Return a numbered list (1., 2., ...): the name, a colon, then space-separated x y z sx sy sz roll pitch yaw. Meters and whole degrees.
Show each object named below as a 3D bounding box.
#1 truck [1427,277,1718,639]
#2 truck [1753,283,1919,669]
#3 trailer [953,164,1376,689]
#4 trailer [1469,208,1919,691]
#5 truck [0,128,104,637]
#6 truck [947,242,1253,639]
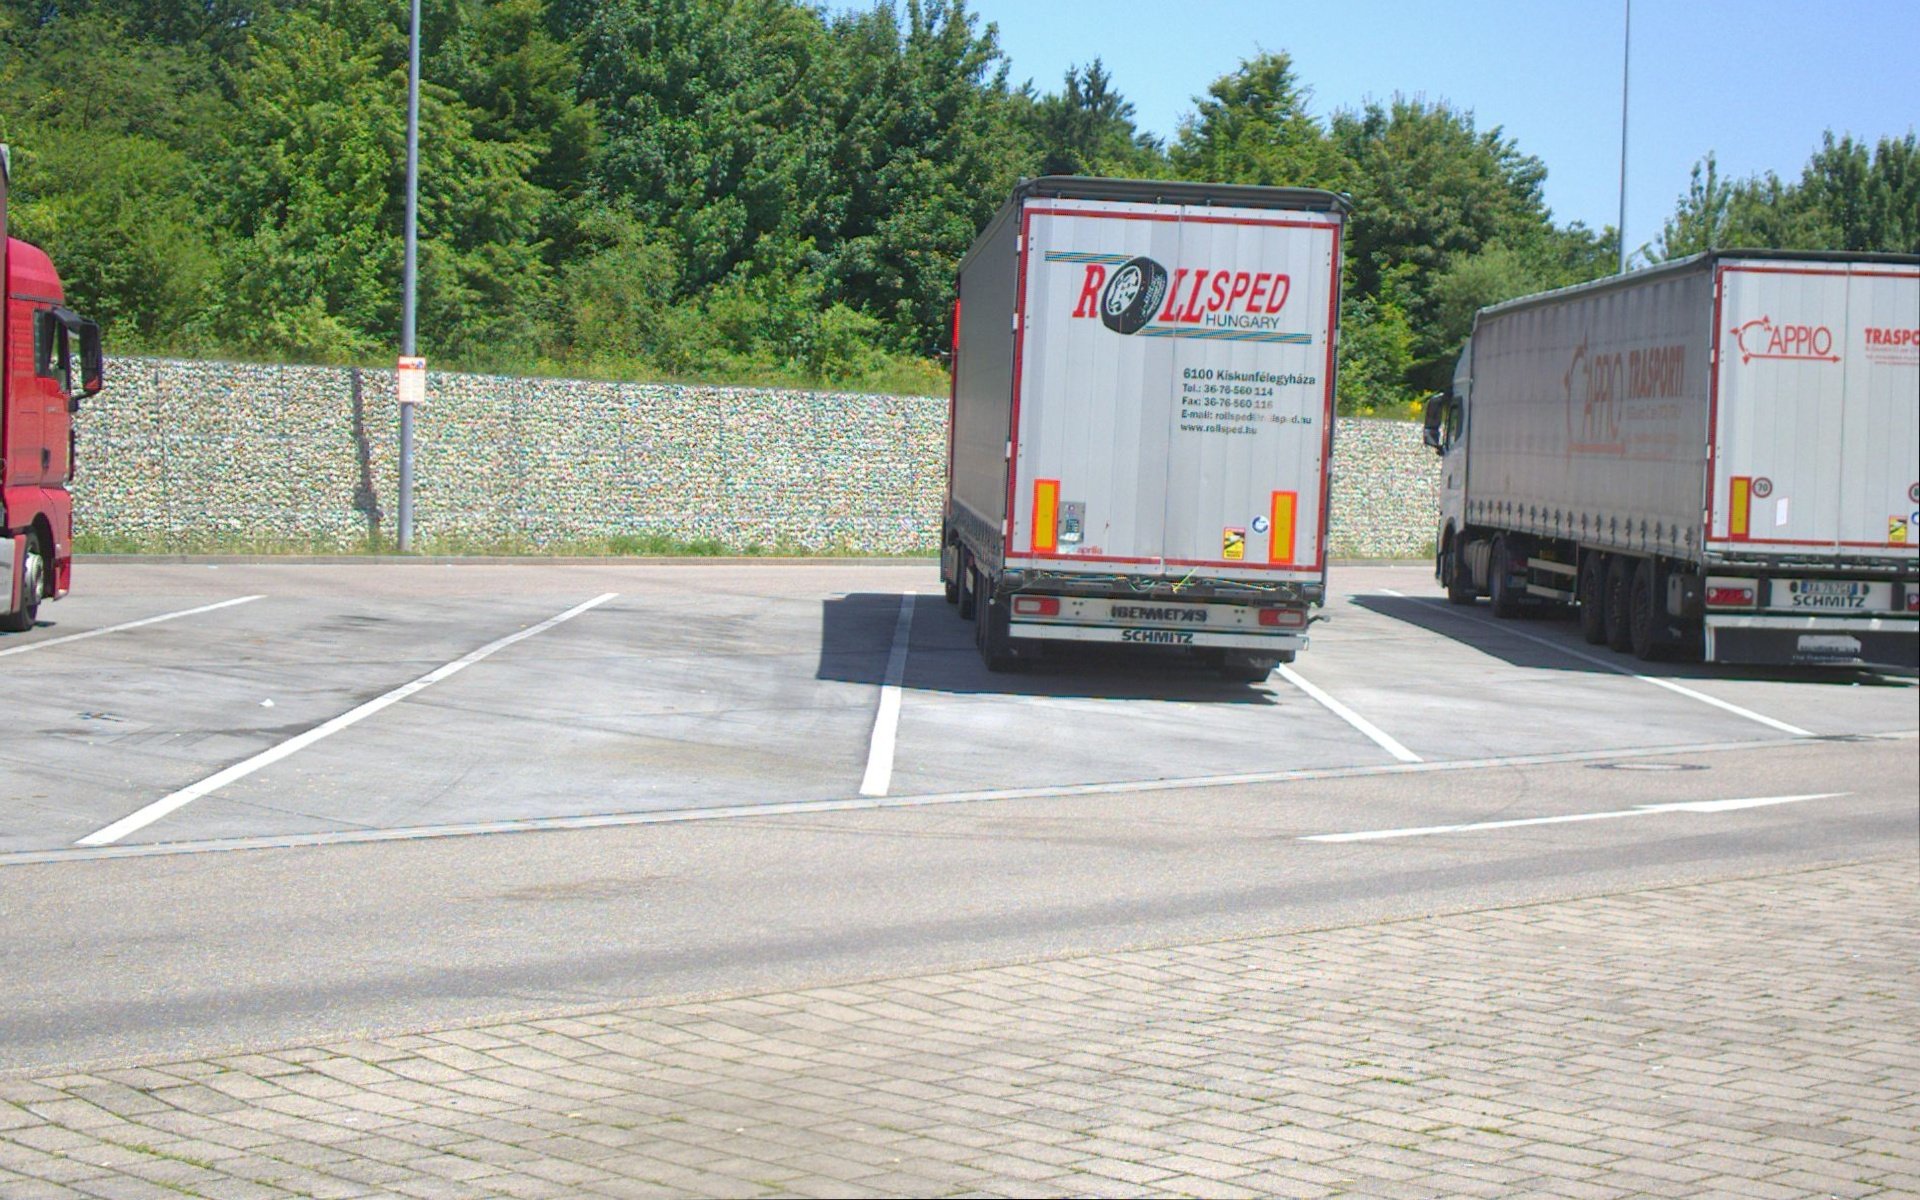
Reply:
1. truck: 7.971 -1.844 45.445 2.661 4.437 5.864 1 2 -1
2. truck: 11.724 -1.351 38.790 2.587 4.211 11.971 1 1 -1
3. trailer: 1.561 -1.511 32.111 2.897 4.000 11.319 1 2 -2
4. trailer: 8.109 -1.588 38.147 2.681 4.437 12.831 1 2 -1
5. truck: -9.179 -1.787 28.383 2.805 4.119 5.894 1 2 -1
6. truck: 1.399 -1.700 37.675 2.871 3.967 6.030 1 2 -2
